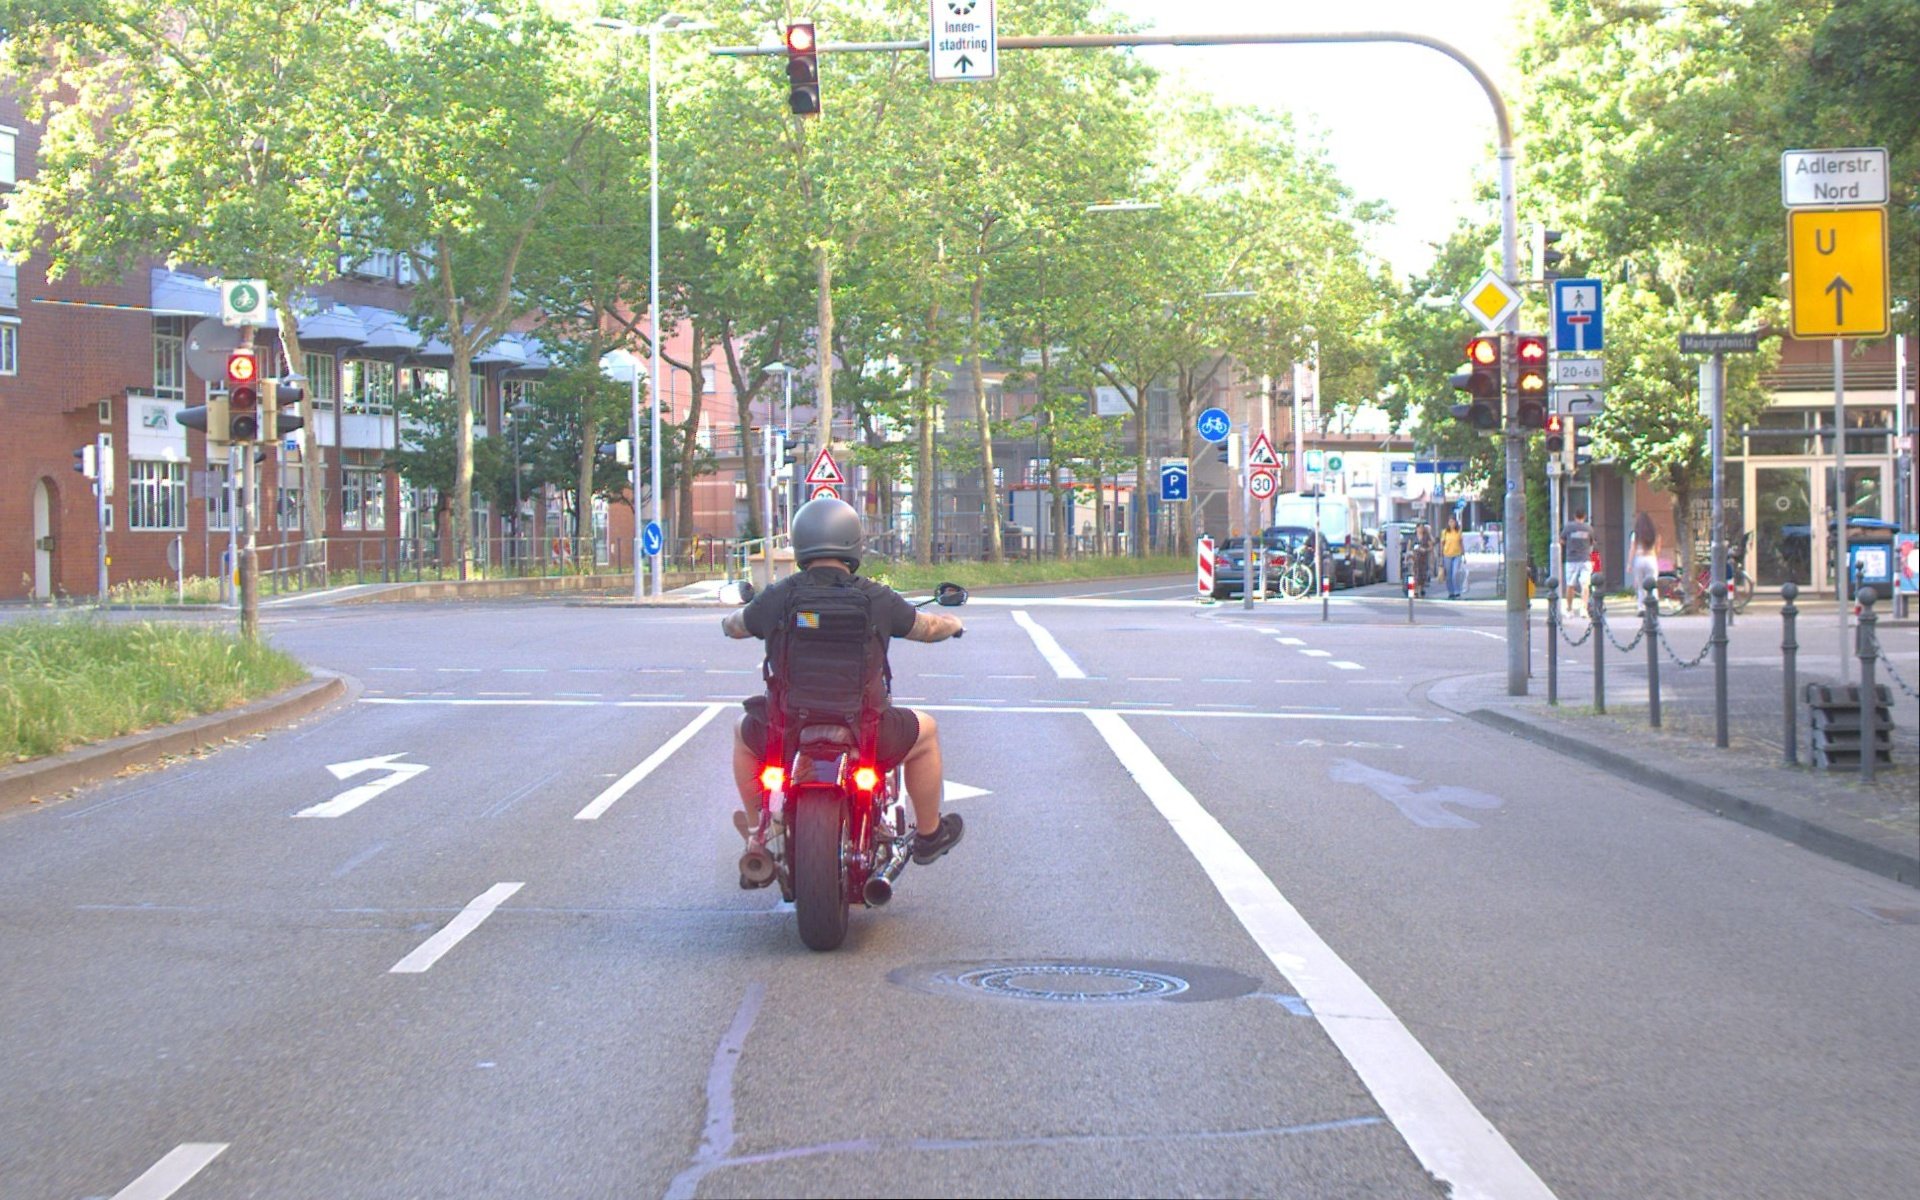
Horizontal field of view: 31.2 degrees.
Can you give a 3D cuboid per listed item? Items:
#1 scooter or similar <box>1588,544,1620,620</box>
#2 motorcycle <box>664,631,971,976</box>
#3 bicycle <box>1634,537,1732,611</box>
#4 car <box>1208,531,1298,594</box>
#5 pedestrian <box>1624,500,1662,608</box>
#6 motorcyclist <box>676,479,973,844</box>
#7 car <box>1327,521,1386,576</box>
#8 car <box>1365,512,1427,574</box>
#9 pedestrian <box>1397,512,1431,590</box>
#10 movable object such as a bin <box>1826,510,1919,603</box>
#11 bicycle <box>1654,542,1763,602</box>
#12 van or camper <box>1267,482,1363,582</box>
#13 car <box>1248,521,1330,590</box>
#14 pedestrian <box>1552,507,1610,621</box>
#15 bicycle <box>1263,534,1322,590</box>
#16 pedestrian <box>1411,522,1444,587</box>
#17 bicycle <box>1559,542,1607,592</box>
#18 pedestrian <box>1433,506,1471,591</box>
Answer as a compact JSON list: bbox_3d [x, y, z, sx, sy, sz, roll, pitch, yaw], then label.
[{"bbox_3d":[10.001,-0.285,53.409,0.394,1.154,1.249,0,1,6],"label":"scooter or similar"},{"bbox_3d":[-0.477,0.696,12.594,1.018,1.093,2.008,0,1,1],"label":"motorcycle"},{"bbox_3d":[12.169,-0.441,57.861,1.567,1.223,0.577,0,1,7],"label":"bicycle"},{"bbox_3d":[6.332,-0.826,73.986,1.621,1.298,4.310,0,1,9],"label":"car"},{"bbox_3d":[10.585,-0.713,53.273,0.459,1.667,0.680,0,1,0],"label":"pedestrian"},{"bbox_3d":[-0.480,0.208,12.567,1.011,1.258,0.774,2,1,1],"label":"motorcyclist"},{"bbox_3d":[11.925,-1.560,103.190,1.621,1.604,3.773,0,1,9],"label":"car"},{"bbox_3d":[14.509,-1.915,114.332,1.836,2.007,4.386,0,1,10],"label":"car"},{"bbox_3d":[9.248,-1.001,70.102,0.644,1.573,0.748,0,1,4],"label":"pedestrian"},{"bbox_3d":[14.636,-0.701,55.140,1.410,1.477,0.871,0,1,12],"label":"movable object such as a bin"},{"bbox_3d":[13.243,-0.500,60.792,1.749,1.049,0.738,0,1,28],"label":"bicycle"},{"bbox_3d":[9.359,-1.782,90.262,2.050,2.532,5.771,0,1,10],"label":"van or camper"},{"bbox_3d":[8.040,-1.105,83.764,1.621,1.614,4.483,0,1,10],"label":"car"},{"bbox_3d":[9.622,-0.561,53.290,0.785,1.757,0.610,0,1,0],"label":"pedestrian"},{"bbox_3d":[6.464,-0.746,66.967,0.737,1.049,1.753,-1,1,-9],"label":"bicycle"},{"bbox_3d":[11.831,-1.161,86.994,0.762,1.639,0.547,0,1,3],"label":"pedestrian"},{"bbox_3d":[11.978,-0.646,66.122,0.737,0.936,1.752,0,1,5],"label":"bicycle"},{"bbox_3d":[10.001,-1.050,69.863,0.700,1.727,0.767,0,1,4],"label":"pedestrian"}]
